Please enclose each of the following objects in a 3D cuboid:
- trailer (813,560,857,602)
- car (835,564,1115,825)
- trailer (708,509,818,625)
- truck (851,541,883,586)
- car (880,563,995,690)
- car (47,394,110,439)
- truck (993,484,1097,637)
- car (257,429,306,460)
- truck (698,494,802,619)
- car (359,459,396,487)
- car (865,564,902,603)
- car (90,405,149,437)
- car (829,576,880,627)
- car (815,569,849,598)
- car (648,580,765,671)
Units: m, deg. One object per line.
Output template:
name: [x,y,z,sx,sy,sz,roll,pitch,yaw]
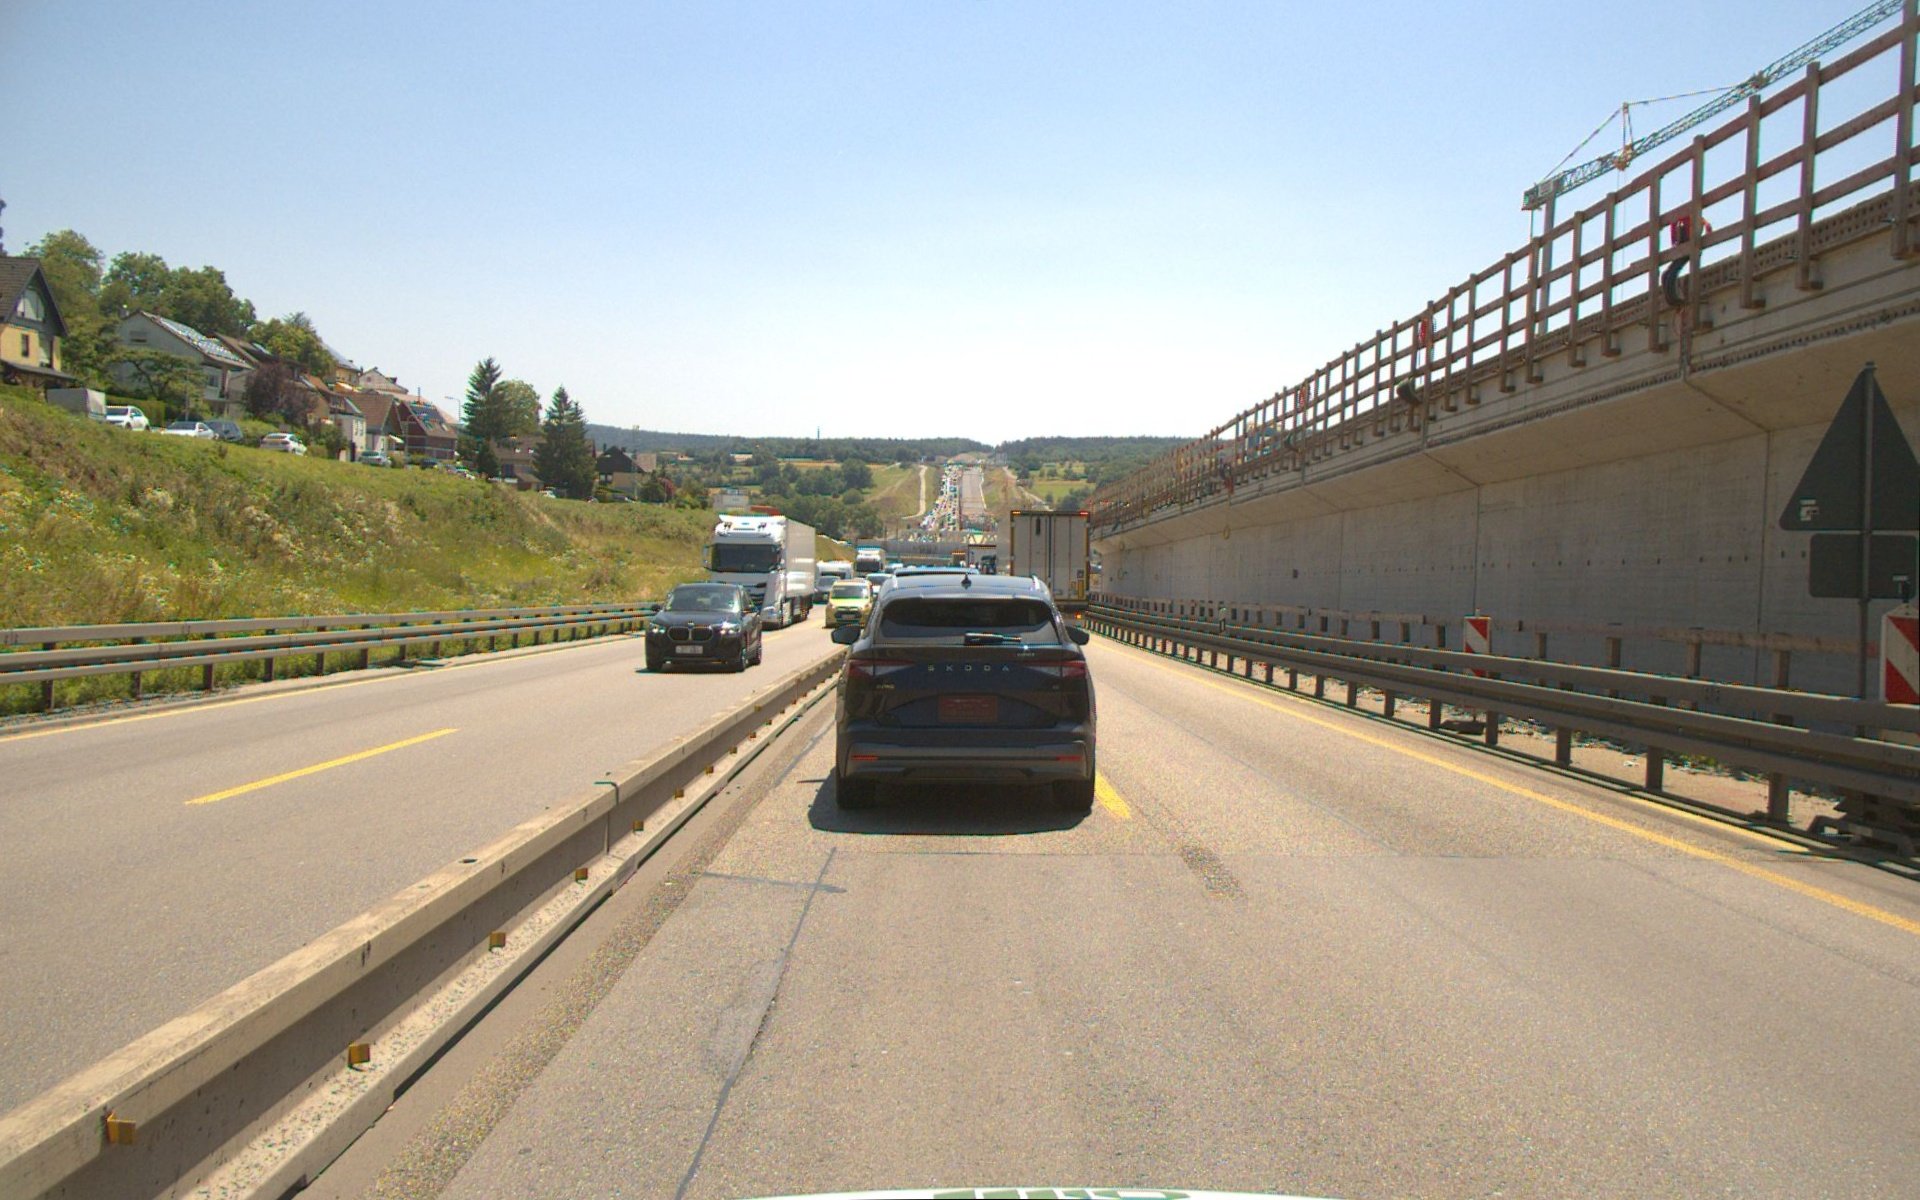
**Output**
trailer: [-8.289,-1.238,110.211,2.434,2.659,5.866,0,-1,0]
car: [0.033,0.596,12.325,1.747,1.625,3.753,1,0,-2]
trailer: [-7.822,-1.258,67.714,3.155,4.231,13.404,1,0,-1]
truck: [-9.305,-3.585,165.745,2.697,4.301,8.099,1,0,0]
car: [-0.446,0.423,28.398,1.715,1.928,3.753,3,0,-3]
car: [-36.984,-7.664,69.448,1.702,1.422,3.780,3,0,-20]
truck: [2.788,-1.187,57.708,2.788,4.696,11.809,2,-1,-1]
car: [-41.253,-9.462,100.600,1.959,1.342,3.988,5,-1,-12]
truck: [-7.666,-1.515,61.221,3.116,4.312,6.482,1,-1,-2]
car: [-42.403,-9.220,120.478,1.891,1.758,3.989,1,0,-11]
car: [-4.155,-0.873,90.560,1.825,2.049,4.804,1,-1,-1]
car: [-37.401,-7.941,73.669,1.255,1.057,3.270,1,0,-7]
car: [-4.039,0.038,63.679,1.739,1.852,4.432,1,0,-1]
car: [-7.866,-1.000,101.974,1.712,1.612,3.999,5,-1,-1]
car: [-4.731,0.435,31.330,1.665,1.588,4.102,1,0,-2]
